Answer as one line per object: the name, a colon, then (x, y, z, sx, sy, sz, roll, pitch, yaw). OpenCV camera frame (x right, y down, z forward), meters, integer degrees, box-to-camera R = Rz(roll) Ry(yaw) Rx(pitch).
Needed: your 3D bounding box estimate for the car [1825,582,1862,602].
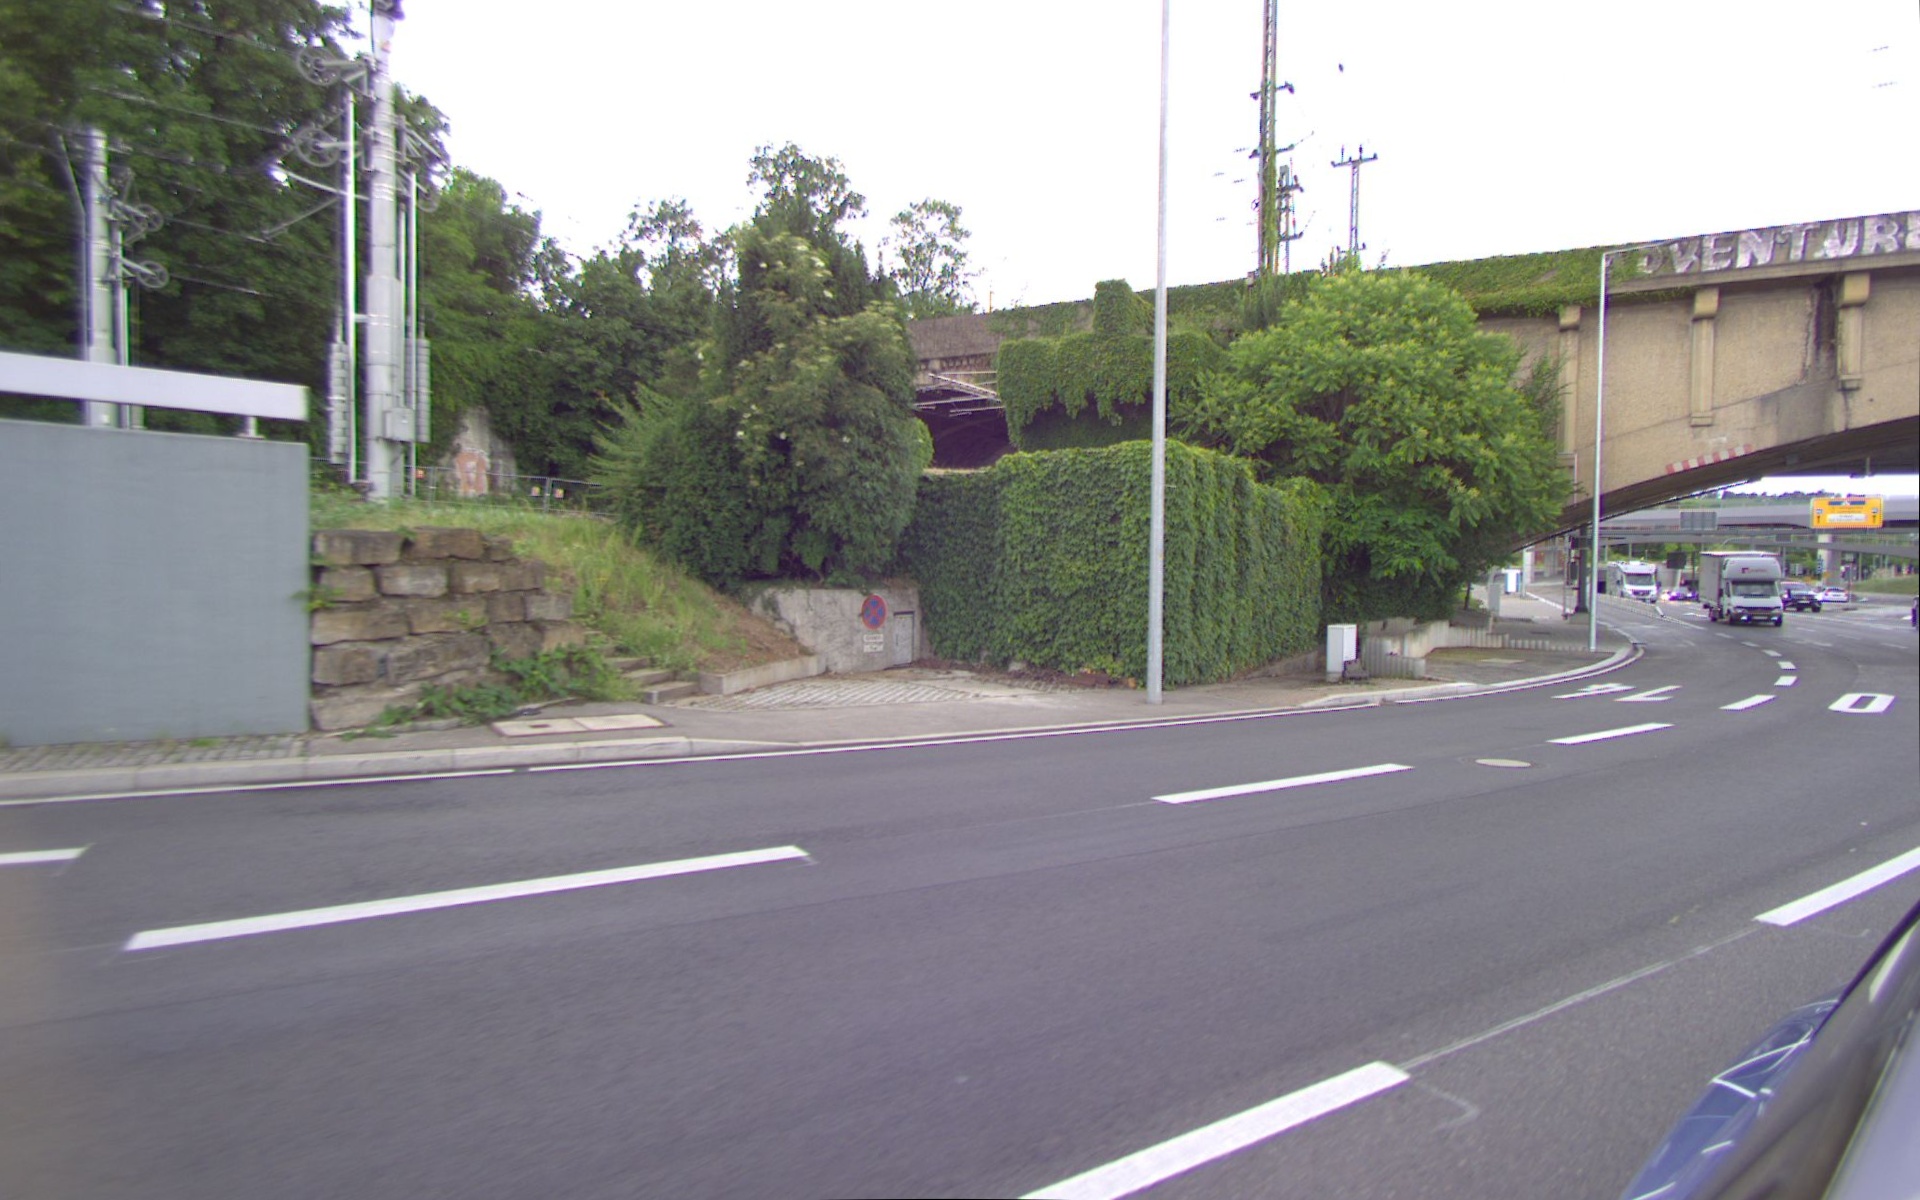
car: (80.487, -0.746, 92.230, 1.985, 1.794, 3.953, 0, 0, 33)

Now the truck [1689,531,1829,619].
truck: (37.188, -1.078, 47.504, 3.002, 3.633, 8.873, -3, -1, 25)

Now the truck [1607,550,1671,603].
truck: (49.756, -1.698, 74.378, 2.549, 3.613, 9.035, 0, 1, 26)

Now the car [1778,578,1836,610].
car: (50.646, -0.387, 60.575, 1.852, 1.861, 4.164, 1, 1, 28)
